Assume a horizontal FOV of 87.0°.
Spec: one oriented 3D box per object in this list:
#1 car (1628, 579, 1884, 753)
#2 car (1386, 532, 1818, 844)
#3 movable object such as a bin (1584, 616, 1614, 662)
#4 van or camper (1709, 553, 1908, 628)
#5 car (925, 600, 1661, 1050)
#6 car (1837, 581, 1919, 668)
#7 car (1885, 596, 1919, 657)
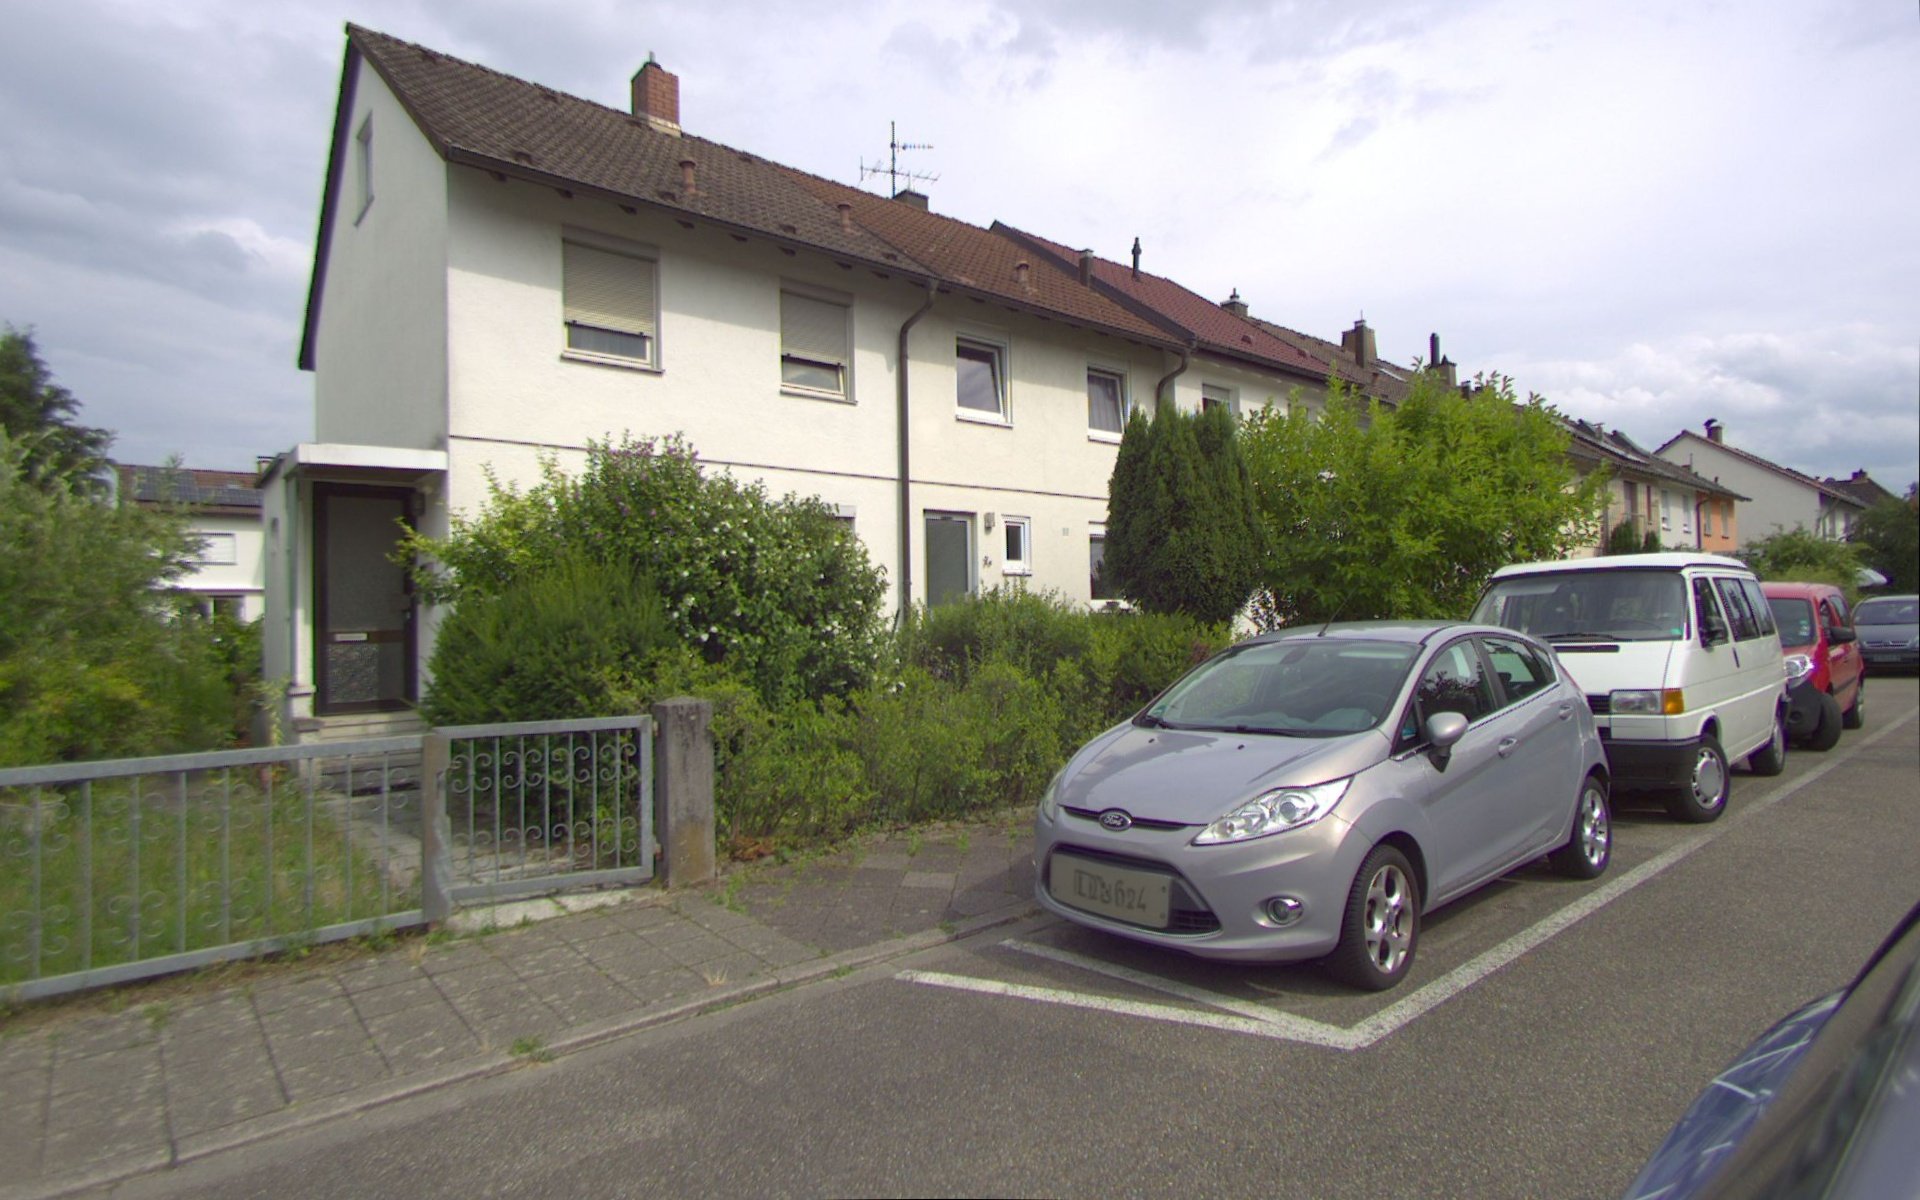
[{"bbox_3d":[9.492,0.634,11.925,4.338,1.672,1.811,0,-1,-44],"label":"car"},{"bbox_3d":[5.735,0.555,8.763,4.667,1.972,2.022,0,-1,-43],"label":"car"},{"bbox_3d":[14.407,0.876,22.828,0.425,1.000,0.874,-1,-1,42],"label":"movable object such as a bin"},{"bbox_3d":[34.660,-0.351,41.536,2.489,2.854,5.816,0,0,-36],"label":"van or camper"},{"bbox_3d":[1.990,0.757,5.424,4.056,1.478,1.904,0,0,-40],"label":"car"},{"bbox_3d":[19.910,0.475,21.168,4.388,1.674,1.869,0,-1,-43],"label":"car"},{"bbox_3d":[24.695,0.606,25.306,4.687,1.425,1.869,0,-3,-43],"label":"car"}]
